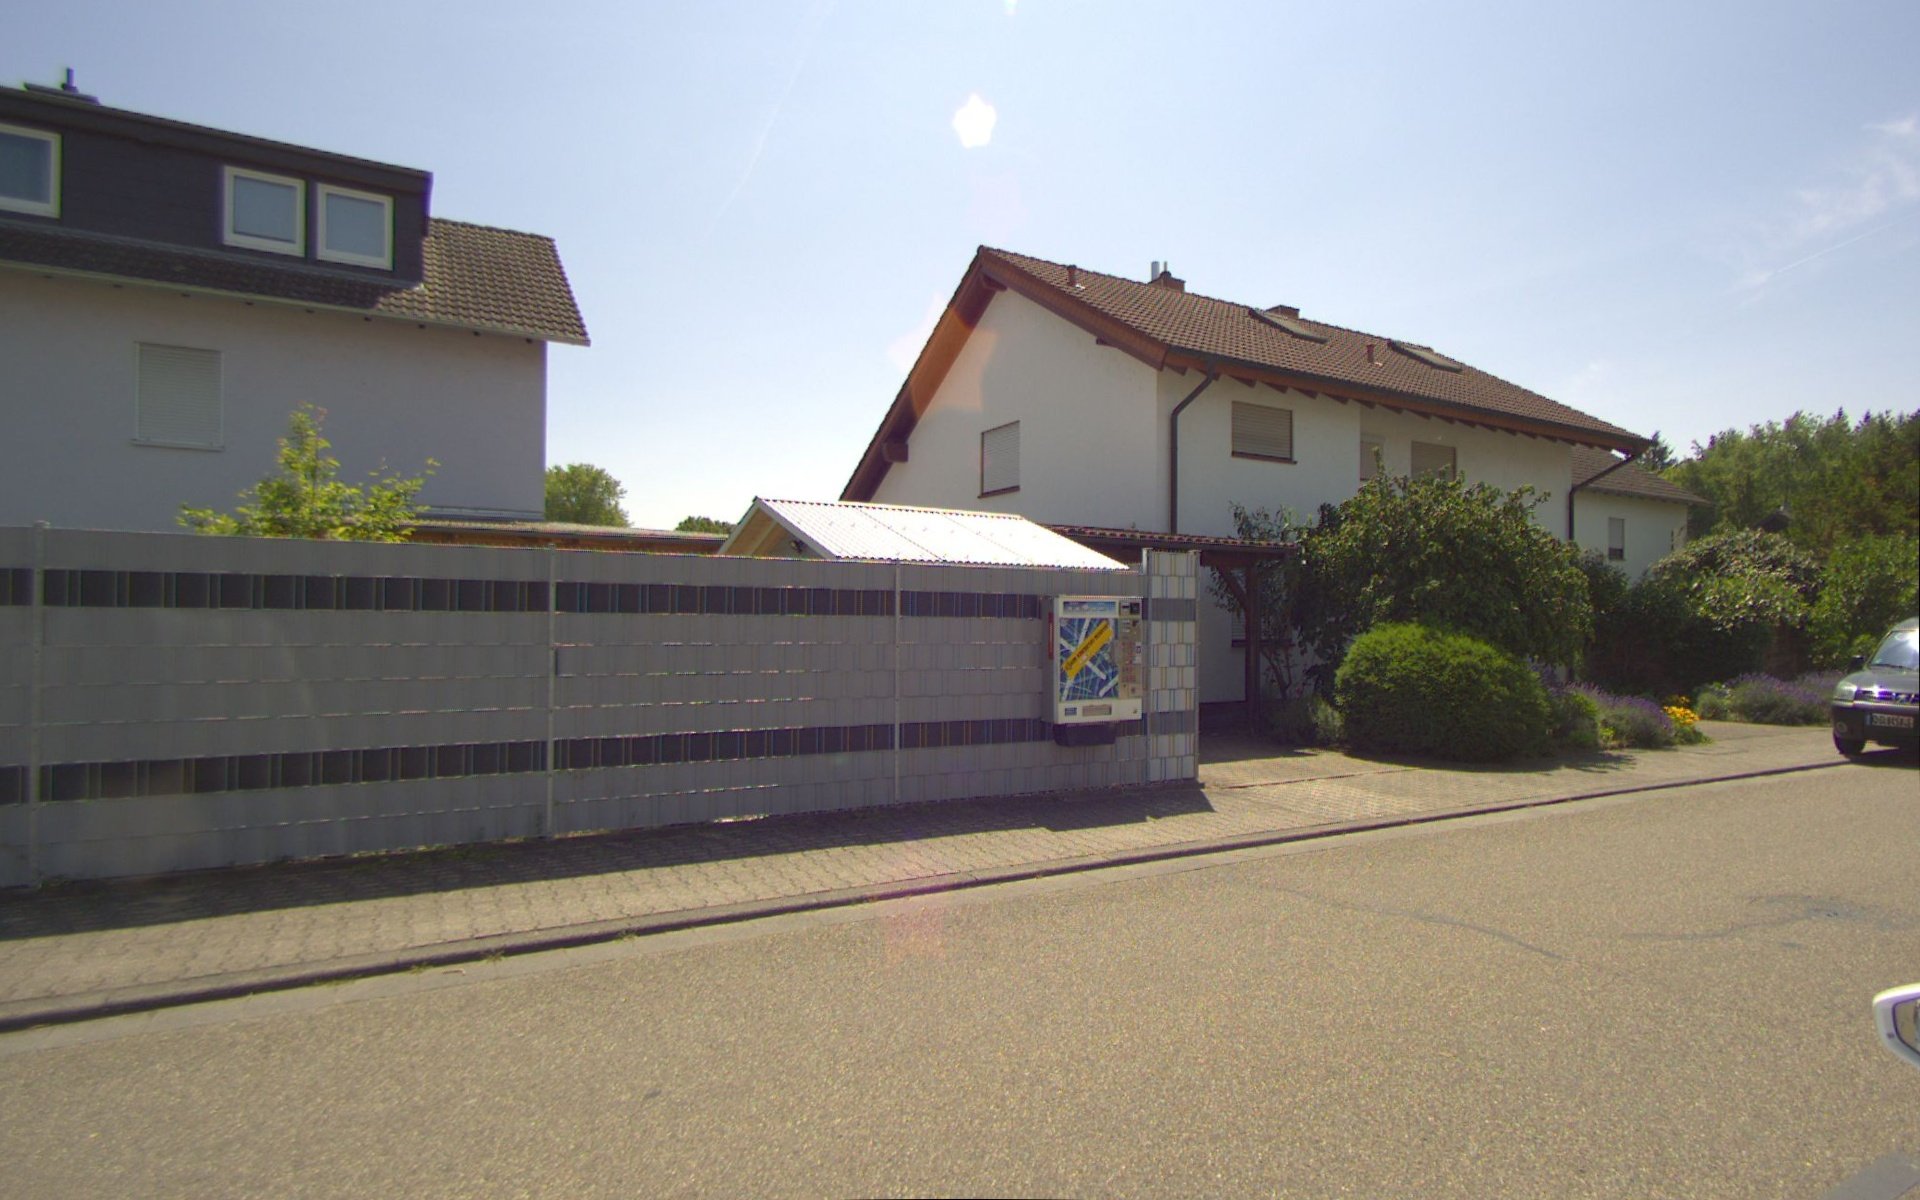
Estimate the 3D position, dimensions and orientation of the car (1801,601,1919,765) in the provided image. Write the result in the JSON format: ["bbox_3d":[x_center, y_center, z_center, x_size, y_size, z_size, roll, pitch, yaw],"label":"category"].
[{"bbox_3d":[12.549,0.996,12.716,4.007,1.870,1.710,1,-1,-31],"label":"car"}]
